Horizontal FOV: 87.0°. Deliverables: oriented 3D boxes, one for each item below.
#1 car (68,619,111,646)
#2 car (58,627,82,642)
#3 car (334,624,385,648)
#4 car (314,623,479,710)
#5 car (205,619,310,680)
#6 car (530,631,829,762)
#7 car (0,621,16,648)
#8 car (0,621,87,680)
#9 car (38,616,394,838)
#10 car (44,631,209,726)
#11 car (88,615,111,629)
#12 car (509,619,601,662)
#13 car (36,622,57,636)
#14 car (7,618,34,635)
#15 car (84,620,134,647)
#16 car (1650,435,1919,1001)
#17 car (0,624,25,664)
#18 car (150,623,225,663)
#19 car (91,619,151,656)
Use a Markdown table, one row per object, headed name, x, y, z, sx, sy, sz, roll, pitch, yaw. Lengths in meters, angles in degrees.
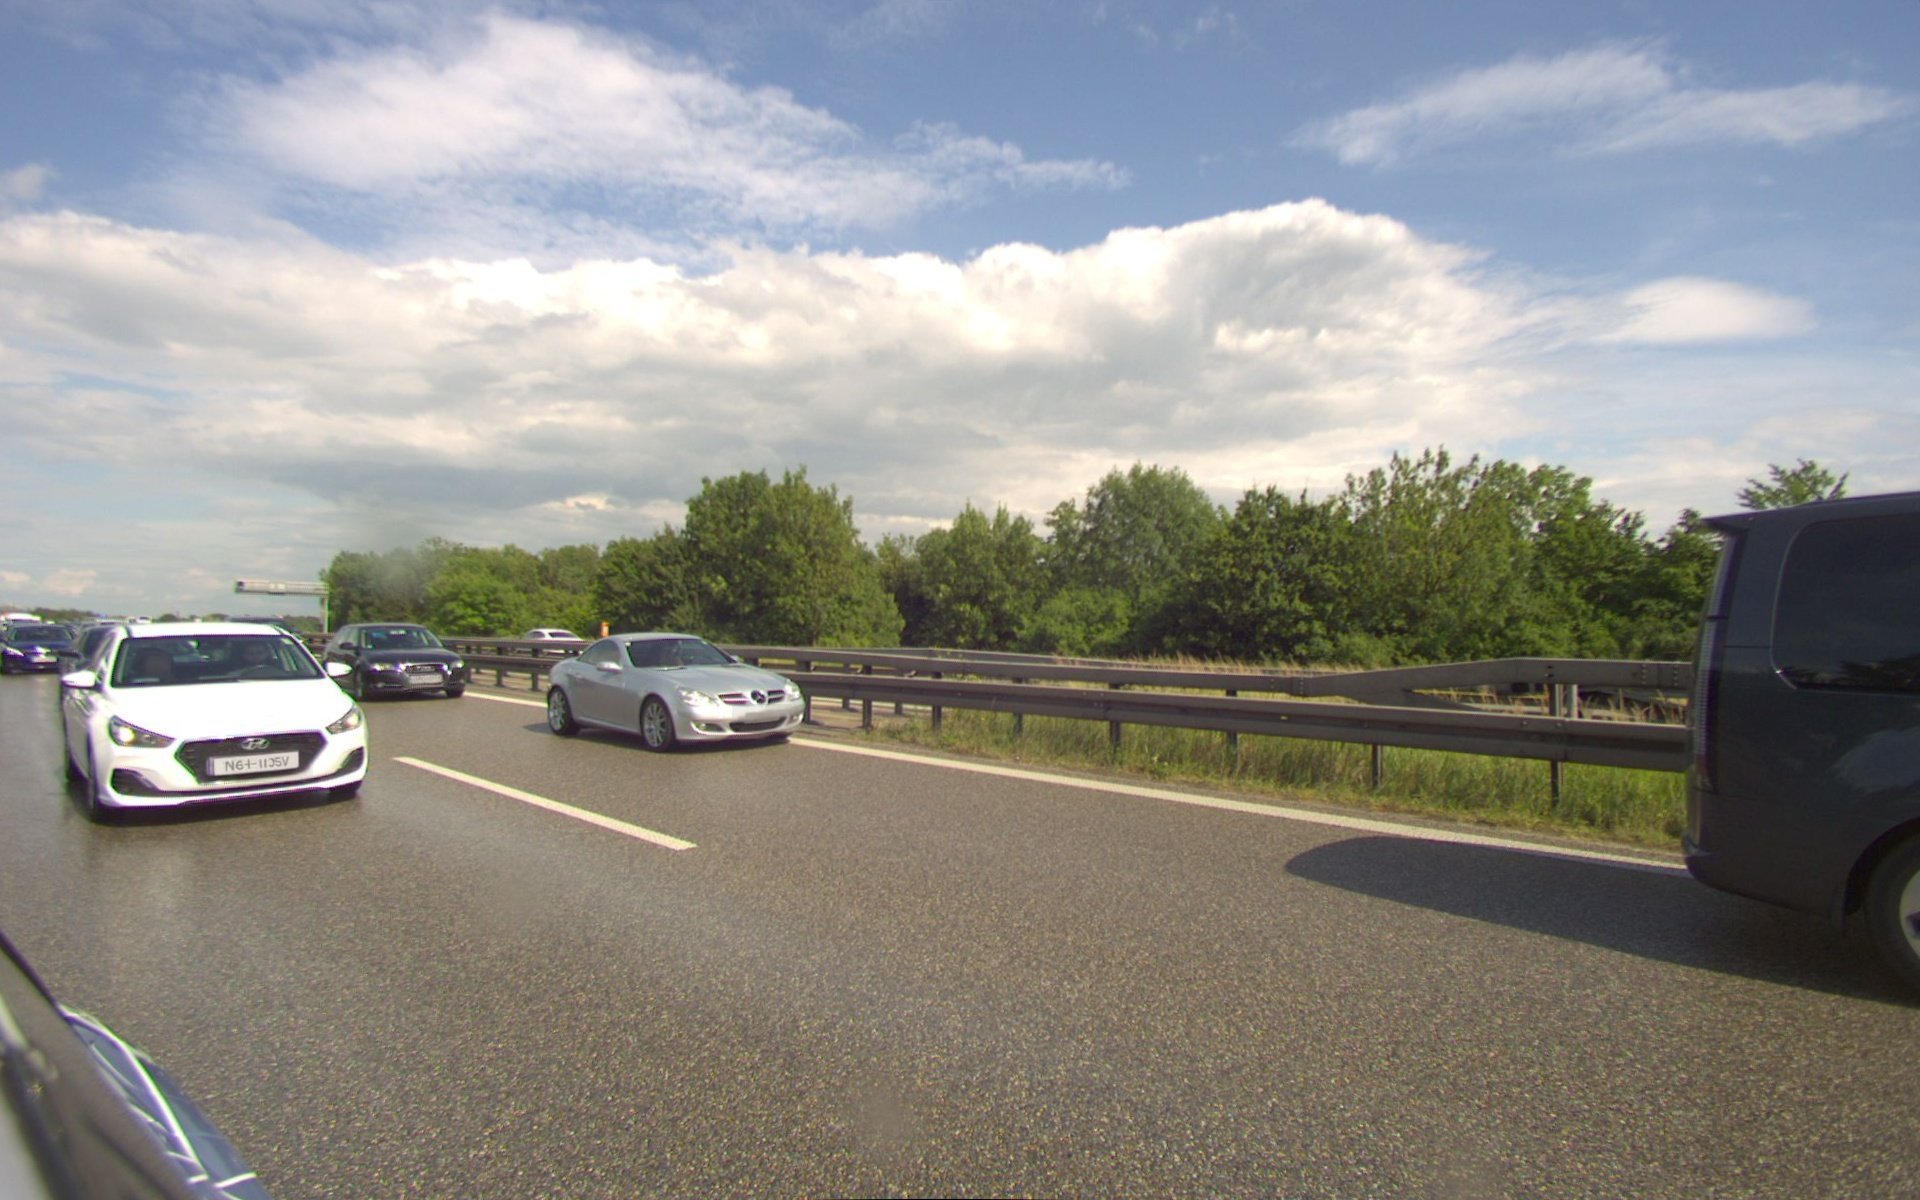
| name | x | y | z | sx | sy | sz | roll | pitch | yaw |
| --- | --- | --- | --- | --- | --- | --- | --- | --- | --- |
| car | -60.728 | 2.229 | 70.587 | 4.002 | 1.710 | 1.971 | 0 | 1 | 45 |
| car | -110.165 | 4.201 | 125.272 | 4.002 | 1.710 | 1.971 | 0 | 1 | 45 |
| car | -36.881 | 2.195 | 62.134 | 3.878 | 1.390 | 1.737 | -2 | -2 | 44 |
| car | -10.822 | 1.179 | 19.293 | 1.746 | 1.436 | 4.142 | 0 | -1 | -44 |
| car | -20.526 | 1.379 | 29.511 | 1.848 | 1.618 | 4.232 | 1 | -1 | -44 |
| car | -3.499 | 1.028 | 12.184 | 4.065 | 1.288 | 1.705 | -2 | -2 | 45 |
| car | -57.498 | 2.063 | 60.053 | 4.002 | 1.490 | 1.971 | 0 | 1 | 45 |
| car | -27.094 | 1.423 | 29.667 | 4.002 | 1.497 | 1.971 | 0 | 1 | 45 |
| car | -6.762 | 0.892 | 8.977 | 4.550 | 1.466 | 1.860 | -2 | -2 | 45 |
| car | -13.982 | 1.212 | 16.887 | 4.289 | 1.348 | 1.705 | -2 | -2 | 45 |
| car | -112.338 | 2.925 | 132.135 | 1.970 | 1.792 | 4.463 | 1 | -2 | -45 |
| car | -17.134 | 1.663 | 42.673 | 4.462 | 1.700 | 1.971 | -2 | -2 | 44 |
| car | -127.637 | 4.037 | 141.348 | 4.002 | 1.710 | 1.971 | 0 | 1 | 45 |
| car | -101.486 | 2.842 | 109.297 | 4.002 | 1.710 | 1.971 | 0 | 1 | 45 |
| car | -52.169 | 2.012 | 62.023 | 4.002 | 1.490 | 1.971 | 0 | 1 | 45 |
| car | 5.432 | 0.396 | 3.036 | 5.272 | 2.029 | 1.971 | -2 | -2 | 45 |
| car | -39.744 | 1.785 | 41.421 | 4.002 | 1.490 | 1.971 | 0 | 1 | 45 |
| car | -30.039 | 1.627 | 39.329 | 4.002 | 1.389 | 1.747 | 0 | -1 | 45 |
| car | -43.260 | 1.889 | 52.169 | 4.002 | 1.762 | 1.971 | 0 | 1 | 45 |
